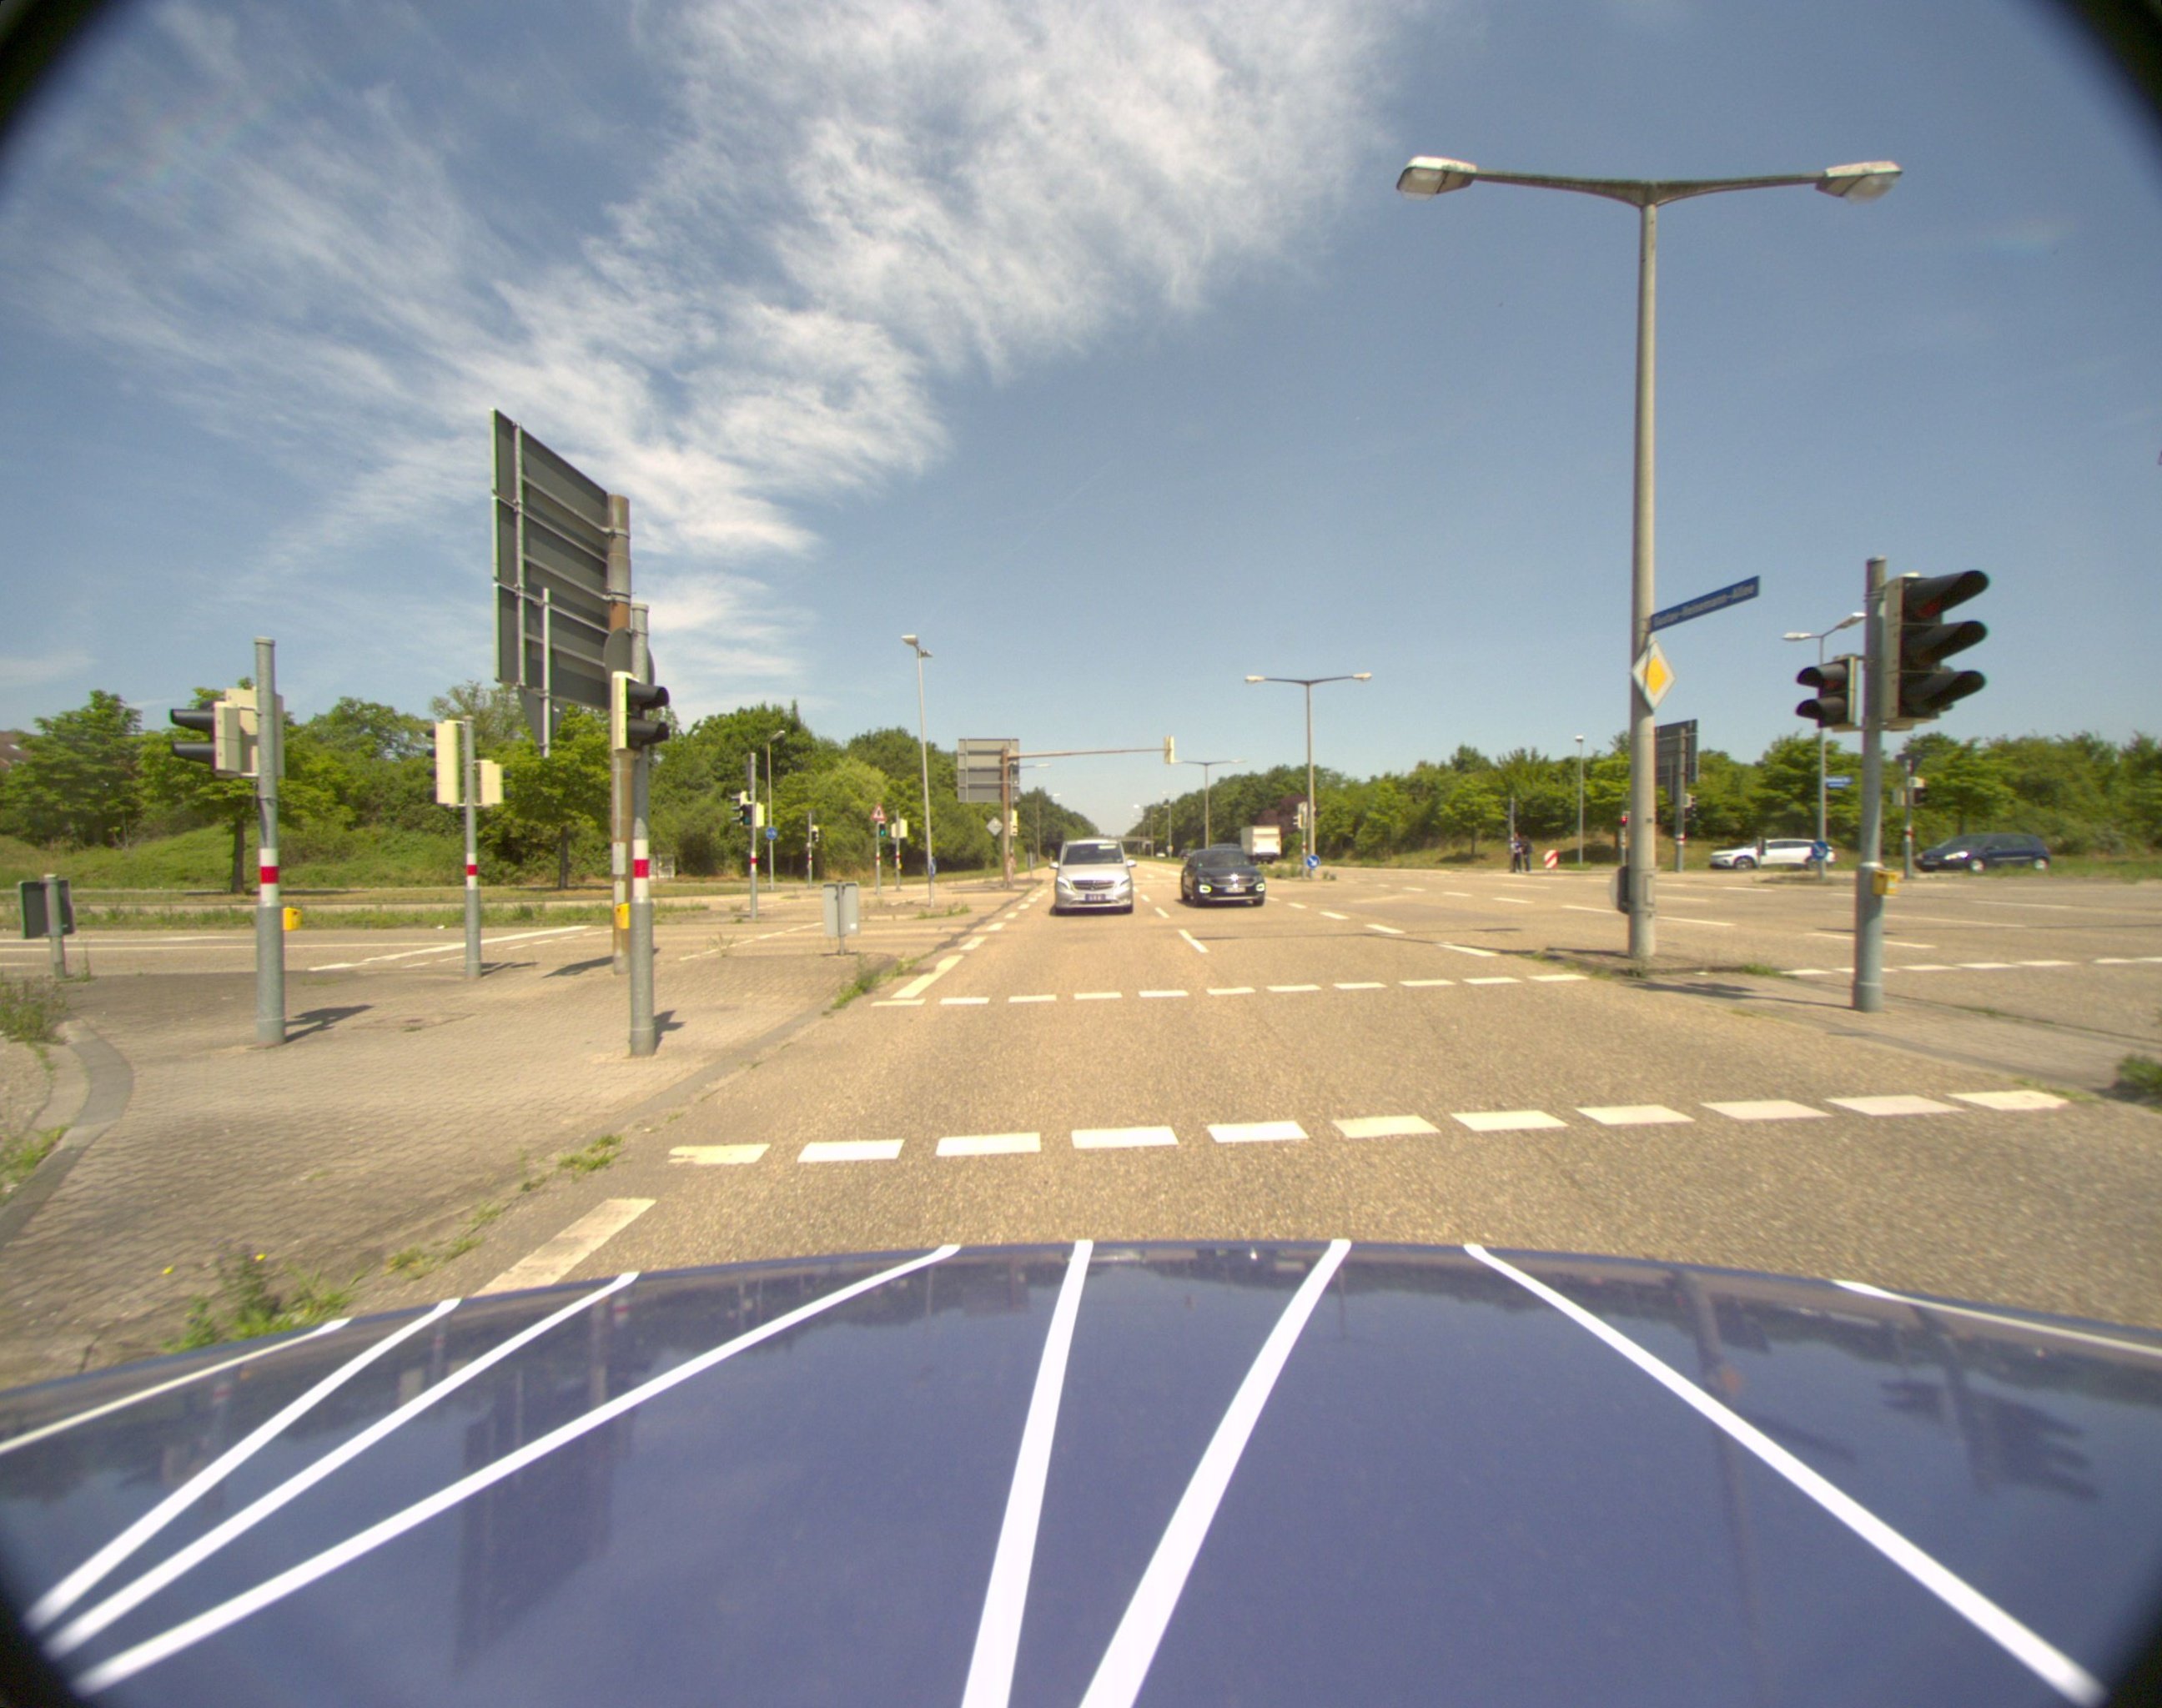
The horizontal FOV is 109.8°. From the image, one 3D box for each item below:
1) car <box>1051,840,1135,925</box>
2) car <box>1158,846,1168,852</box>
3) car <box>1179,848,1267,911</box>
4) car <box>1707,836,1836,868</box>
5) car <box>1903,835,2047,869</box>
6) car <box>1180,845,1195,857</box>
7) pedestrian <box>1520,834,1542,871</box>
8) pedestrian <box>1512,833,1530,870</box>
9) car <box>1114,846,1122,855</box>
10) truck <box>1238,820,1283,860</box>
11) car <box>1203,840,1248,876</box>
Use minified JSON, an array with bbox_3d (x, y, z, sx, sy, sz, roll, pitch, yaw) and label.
[{"bbox_3d":[0.332,0.603,19.128,1.764,1.794,4.855,-2,1,2],"label":"car"},{"bbox_3d":[19.353,-1.240,179.734,1.827,1.447,4.168,-1,0,0],"label":"car"},{"bbox_3d":[3.806,0.625,21.021,1.738,1.503,3.970,-2,1,2],"label":"car"},{"bbox_3d":[33.527,-0.091,37.015,4.301,1.492,1.882,0,-2,14],"label":"car"},{"bbox_3d":[36.375,-0.087,30.980,3.998,1.328,1.702,-1,1,-3],"label":"car"},{"bbox_3d":[15.054,-0.444,107.467,1.711,1.653,4.223,-1,0,2],"label":"car"},{"bbox_3d":[20.707,-0.075,34.987,0.723,1.690,0.776,-1,1,20],"label":"pedestrian"},{"bbox_3d":[20.768,-0.111,35.881,0.582,1.726,0.794,-1,1,21],"label":"pedestrian"},{"bbox_3d":[7.869,-0.784,162.361,1.735,1.815,4.321,-1,1,2],"label":"car"},{"bbox_3d":[17.288,-1.310,73.666,2.694,3.550,7.267,-1,1,1],"label":"truck"},{"bbox_3d":[7.763,0.188,41.261,1.735,1.815,4.321,-1,1,2],"label":"car"}]
